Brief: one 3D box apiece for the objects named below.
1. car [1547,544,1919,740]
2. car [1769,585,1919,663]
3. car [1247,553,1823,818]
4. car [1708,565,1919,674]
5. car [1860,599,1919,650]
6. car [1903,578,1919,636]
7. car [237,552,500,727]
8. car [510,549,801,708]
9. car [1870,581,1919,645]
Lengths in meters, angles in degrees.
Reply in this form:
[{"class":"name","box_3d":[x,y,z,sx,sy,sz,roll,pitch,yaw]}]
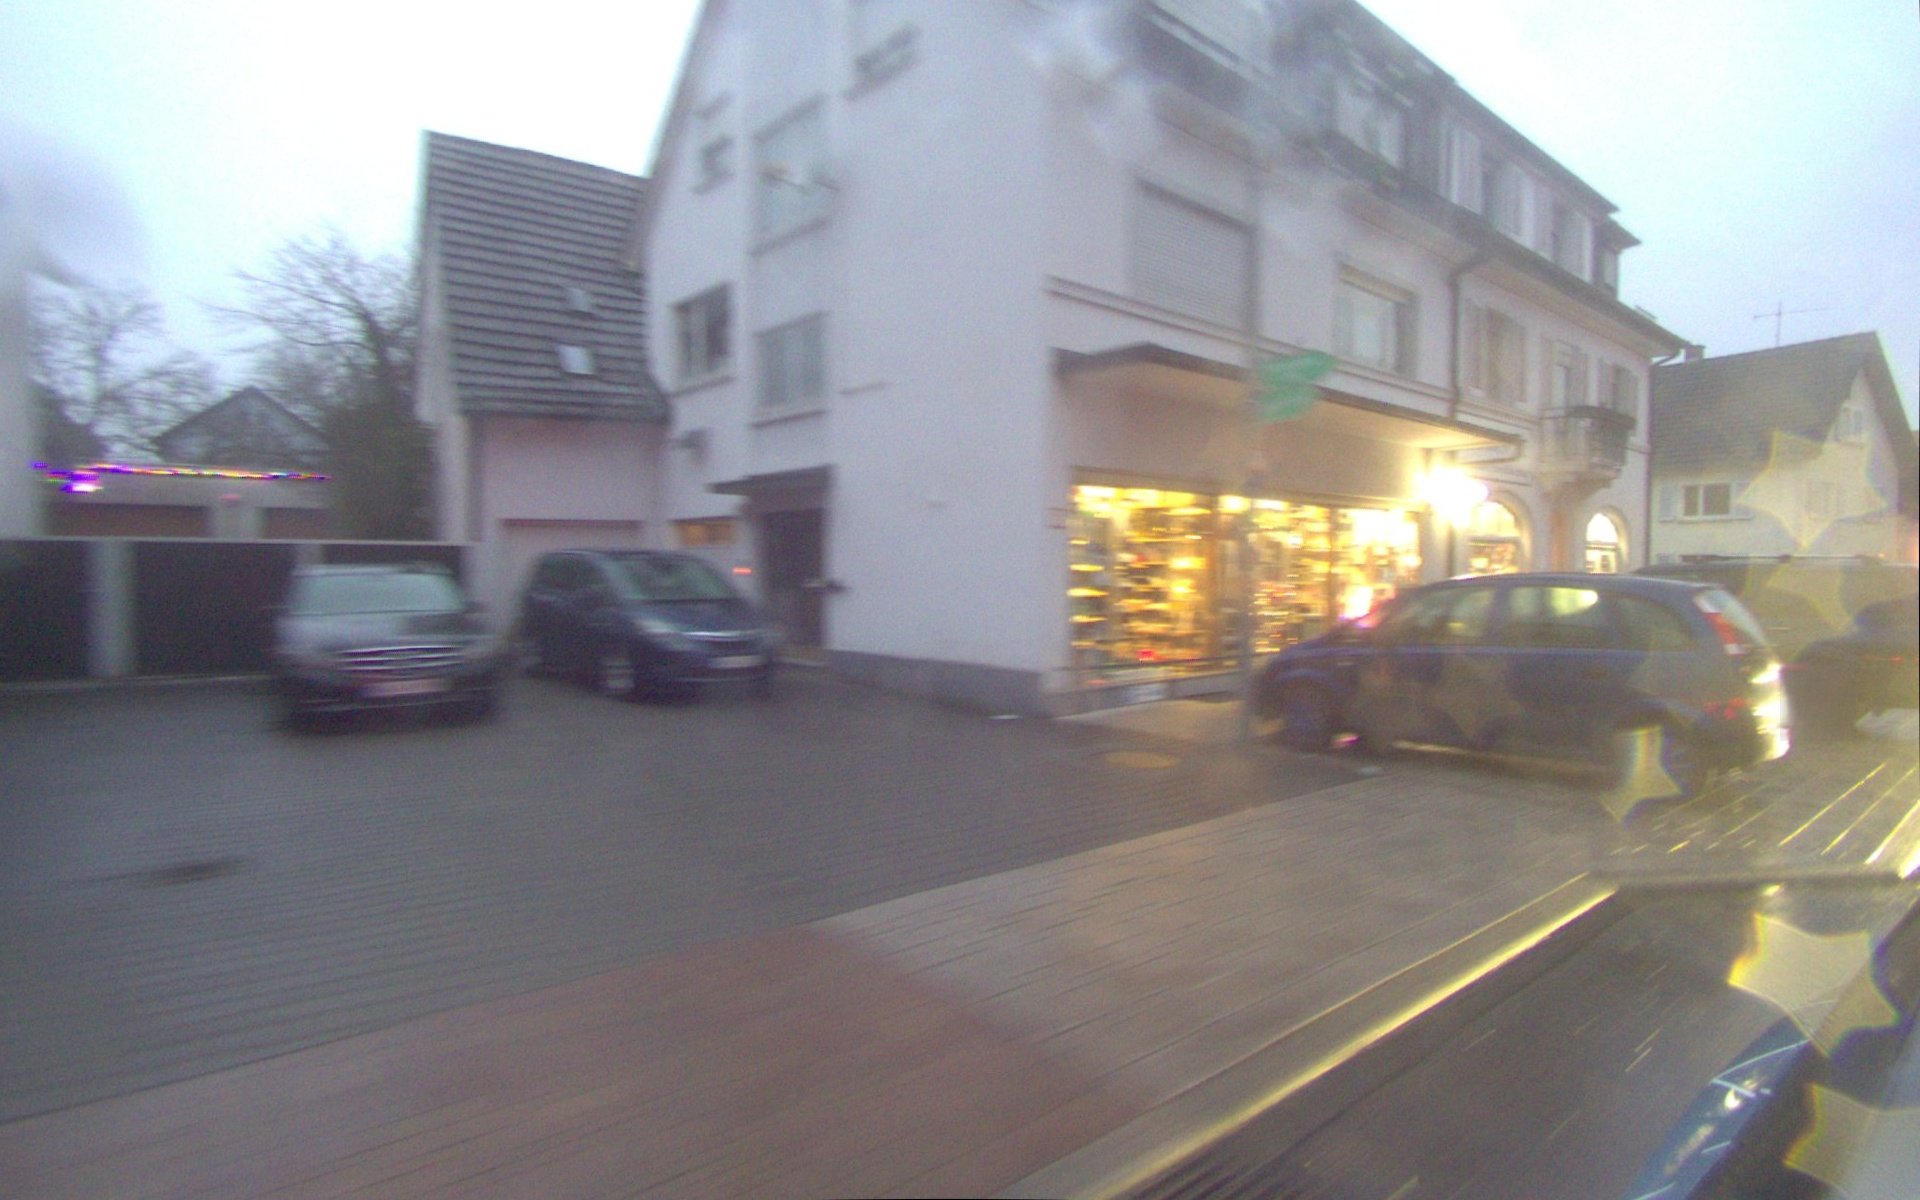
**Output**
[{"class":"car","box_3d":[9.035,0.358,11.350,1.839,1.900,3.880,0,2,-45]},{"class":"car","box_3d":[17.952,0.452,19.157,1.523,1.384,3.887,0,2,-40]},{"class":"car","box_3d":[4.540,0.480,8.416,1.585,1.648,3.846,0,3,-44]},{"class":"car","box_3d":[15.811,0.300,17.858,1.683,1.754,3.887,0,2,-40]},{"class":"car","box_3d":[23.007,0.605,22.790,1.523,1.141,3.887,0,2,-40]},{"class":"car","box_3d":[26.696,0.232,25.693,1.524,1.515,3.885,0,2,-41]},{"class":"car","box_3d":[-6.349,0.265,10.664,1.836,1.486,3.802,0,2,-39]},{"class":"car","box_3d":[-3.726,0.222,11.945,1.715,1.549,3.992,1,1,-43]},{"class":"car","box_3d":[24.448,0.357,24.133,1.523,1.515,3.887,0,2,-40]}]
